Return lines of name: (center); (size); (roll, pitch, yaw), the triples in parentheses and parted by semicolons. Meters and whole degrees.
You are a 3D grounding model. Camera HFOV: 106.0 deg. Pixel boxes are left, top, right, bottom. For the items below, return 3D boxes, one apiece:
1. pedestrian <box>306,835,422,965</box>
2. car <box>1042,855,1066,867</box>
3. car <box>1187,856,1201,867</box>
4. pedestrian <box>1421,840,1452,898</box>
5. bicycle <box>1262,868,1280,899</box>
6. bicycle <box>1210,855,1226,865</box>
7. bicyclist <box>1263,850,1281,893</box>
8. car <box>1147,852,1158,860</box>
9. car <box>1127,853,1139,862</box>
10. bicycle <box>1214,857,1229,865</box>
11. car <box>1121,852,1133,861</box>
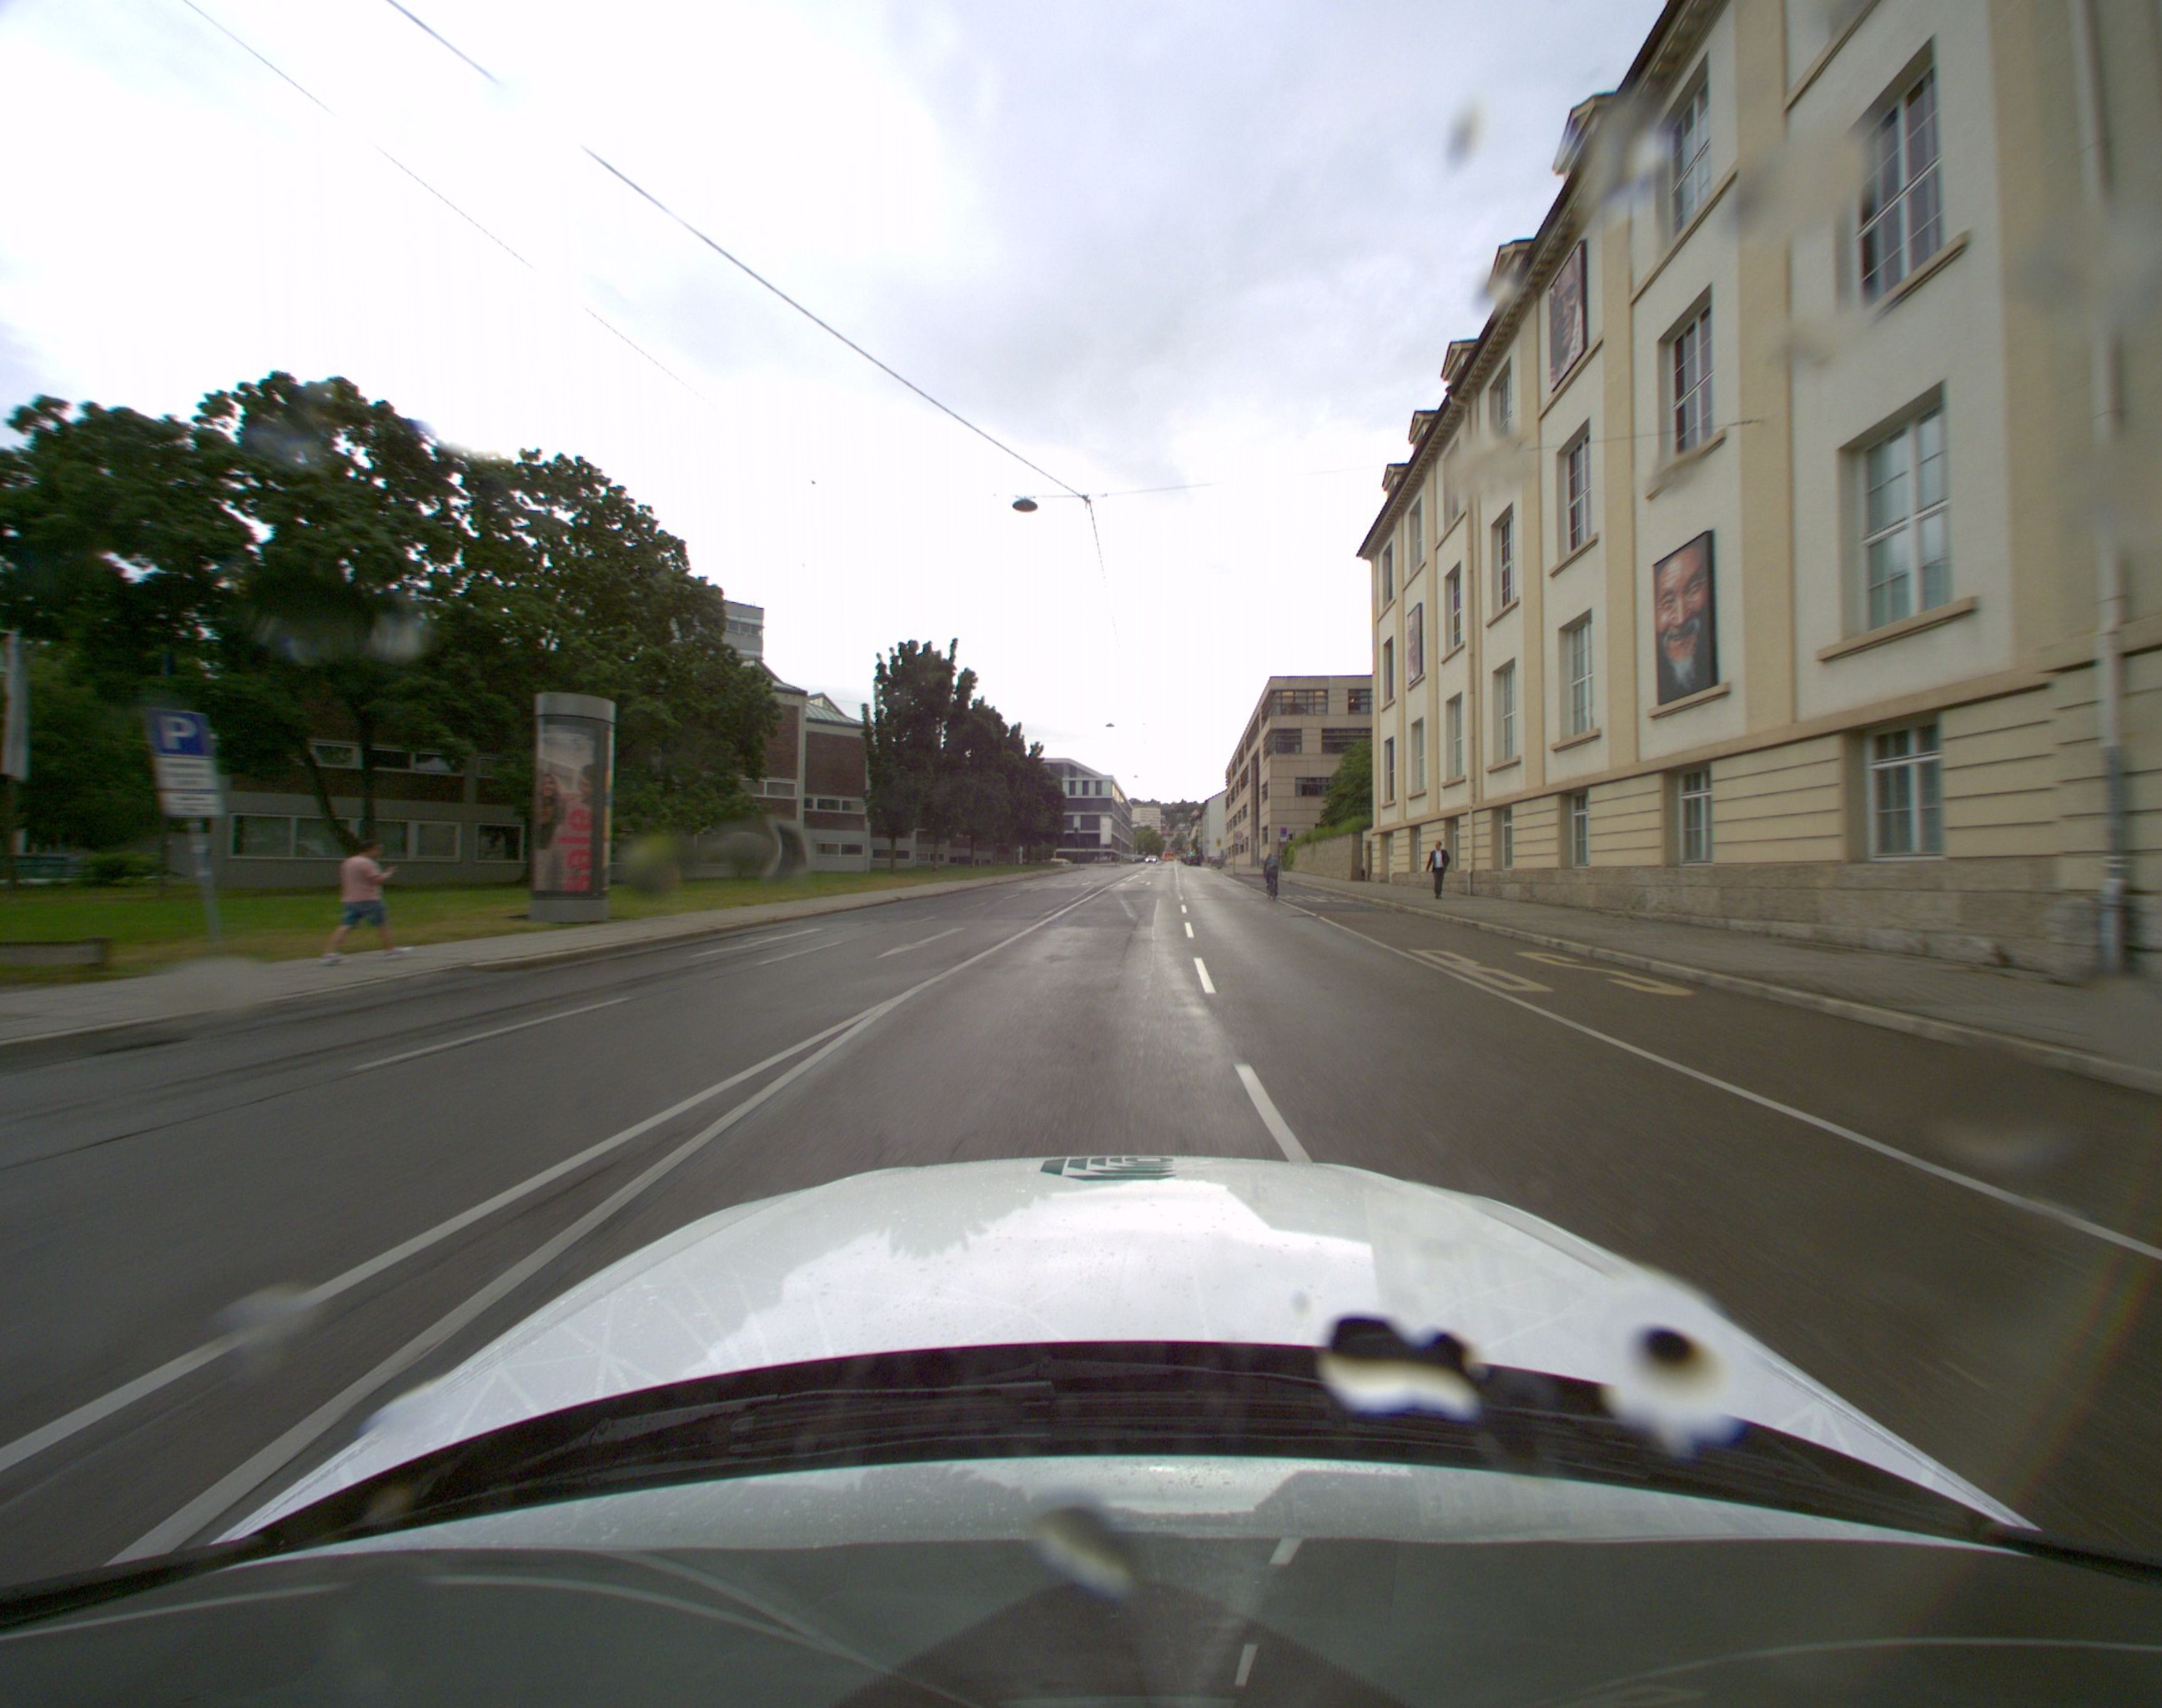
pedestrian: (-9.795, 0.604, 11.150); (0.665, 1.686, 0.916); (1, -1, 13)
car: (-5.427, 1.427, 164.137); (4.574, 2.174, 1.931); (1, -1, 0)
car: (16.814, 1.160, 121.257); (1.762, 1.604, 4.400); (1, 0, 5)
pedestrian: (11.233, 0.458, 25.720); (0.666, 1.798, 0.853); (-1, -1, 8)
bicycle: (6.460, 0.997, 27.674); (0.445, 0.963, 1.694); (1, 0, 9)
bicycle: (16.543, 0.727, 98.335); (1.723, 1.119, 0.660); (0, -1, 1)
bicyclist: (6.470, 0.592, 27.648); (0.481, 1.433, 0.932); (1, -1, 8)
car: (14.391, 0.337, 163.774); (1.870, 1.491, 5.233); (-2, 0, 9)
car: (10.678, 0.796, 167.101); (1.951, 1.750, 4.953); (1, 0, 9)
bicycle: (16.782, 0.802, 97.323); (1.751, 0.953, 0.660); (0, -1, 3)
car: (8.498, 0.539, 150.289); (1.840, 1.617, 4.499); (1, 0, 7)
